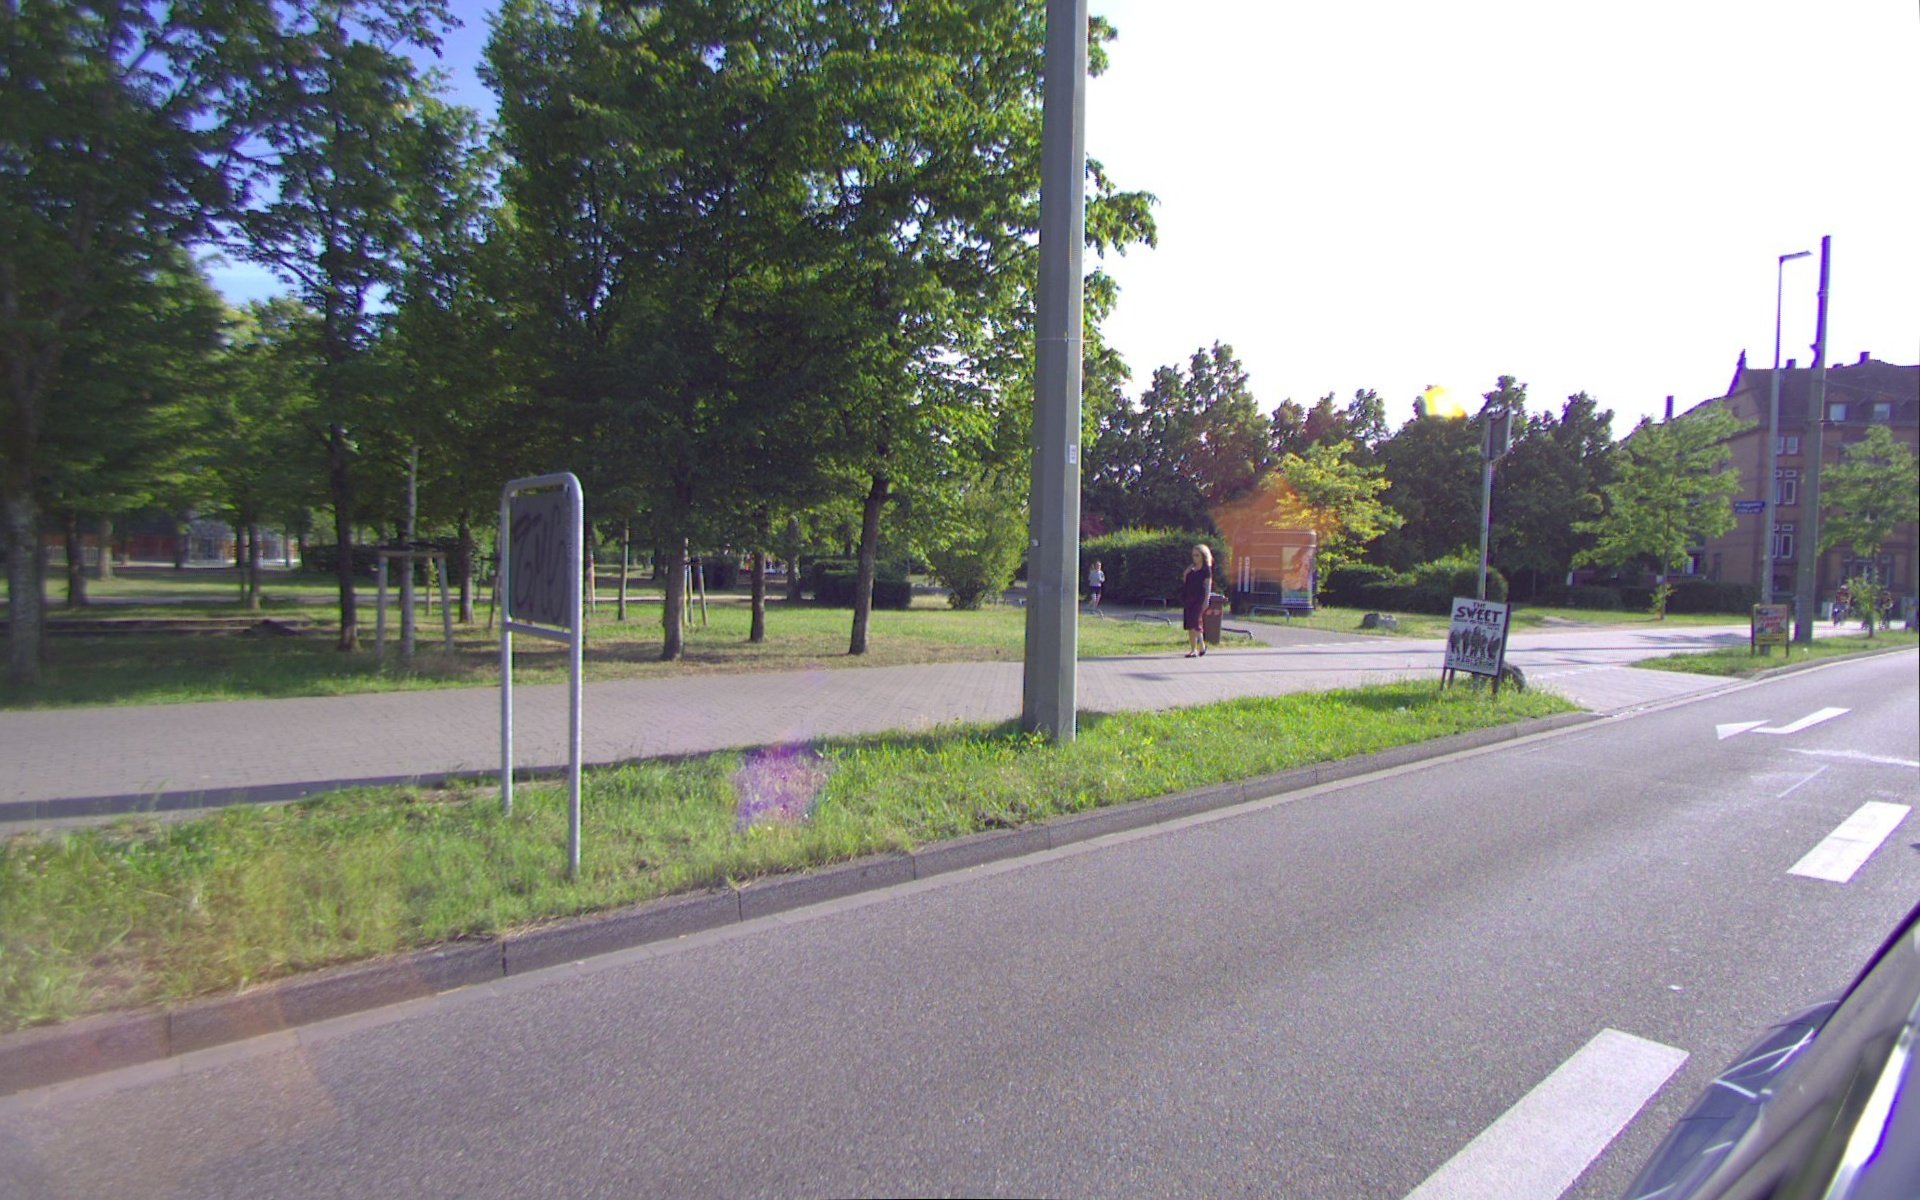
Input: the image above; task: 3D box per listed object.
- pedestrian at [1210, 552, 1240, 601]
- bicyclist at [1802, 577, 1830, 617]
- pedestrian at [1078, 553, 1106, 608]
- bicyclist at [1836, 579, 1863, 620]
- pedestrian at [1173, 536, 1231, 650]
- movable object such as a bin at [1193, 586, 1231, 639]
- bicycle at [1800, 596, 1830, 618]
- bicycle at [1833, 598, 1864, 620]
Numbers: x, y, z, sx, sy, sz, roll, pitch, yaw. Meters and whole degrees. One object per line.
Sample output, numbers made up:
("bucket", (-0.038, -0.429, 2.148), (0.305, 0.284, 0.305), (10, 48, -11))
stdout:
("pedestrian", (12.199, -1.088, 46.553), (0.872, 2.184, 0.914), (1, 2, -28))
("bicyclist", (39.080, -0.156, 46.202), (1.099, 1.795, 0.753), (0, 2, -42))
("pedestrian", (4.087, -0.608, 31.421), (0.609, 1.671, 0.664), (1, 2, -16))
("bicyclist", (39.711, -0.032, 45.193), (0.998, 1.795, 0.730), (0, 2, -42))
("pedestrian", (3.750, -0.114, 15.677), (0.651, 1.722, 0.558), (0, 2, -41))
("movable object such as a bin", (4.591, 0.222, 18.454), (0.514, 0.915, 0.504), (1, 2, -2))
("bicycle", (39.066, 0.310, 46.218), (2.059, 0.929, 0.739), (0, 2, -42))
("bicycle", (39.626, 0.375, 45.131), (2.058, 0.929, 0.739), (0, 2, -41))
